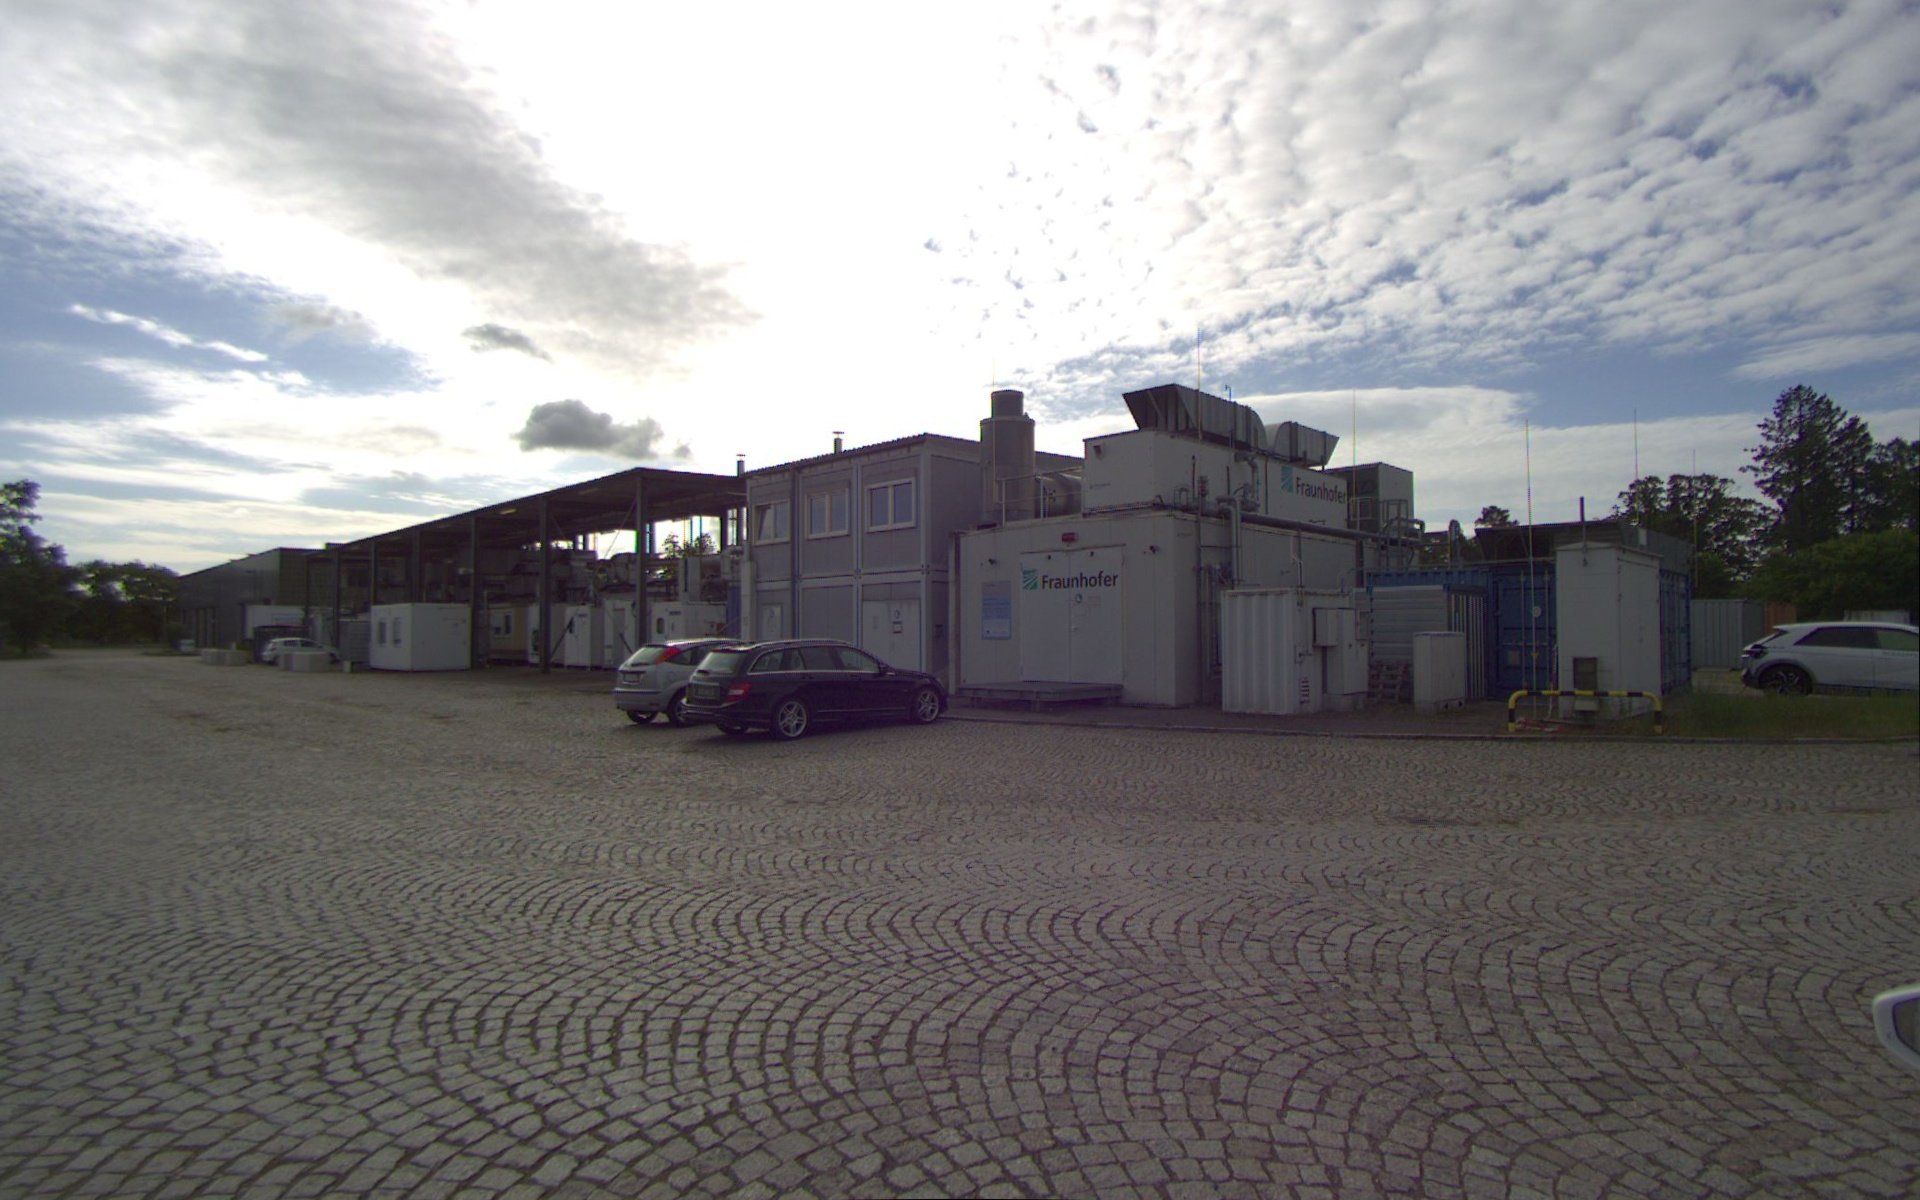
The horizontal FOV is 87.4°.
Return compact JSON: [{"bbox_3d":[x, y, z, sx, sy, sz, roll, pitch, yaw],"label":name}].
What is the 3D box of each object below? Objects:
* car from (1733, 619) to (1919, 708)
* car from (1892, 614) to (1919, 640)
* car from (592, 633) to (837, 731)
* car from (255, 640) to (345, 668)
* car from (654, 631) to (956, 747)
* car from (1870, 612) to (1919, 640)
[{"bbox_3d":[18.027,1.203,19.502,1.985,1.620,4.493,1,-3,-42],"label":"car"},{"bbox_3d":[88.624,2.491,91.656,1.987,2.368,5.119,2,-3,-45],"label":"car"},{"bbox_3d":[-4.432,1.414,18.549,1.886,1.495,4.023,-2,-1,43],"label":"car"},{"bbox_3d":[-38.015,3.079,57.897,1.973,1.512,3.977,-2,-3,43],"label":"car"},{"bbox_3d":[-2.360,1.306,16.167,2.016,1.472,4.500,-2,-1,44],"label":"car"},{"bbox_3d":[81.170,2.246,85.701,1.987,2.368,5.119,2,-3,-45],"label":"car"}]
